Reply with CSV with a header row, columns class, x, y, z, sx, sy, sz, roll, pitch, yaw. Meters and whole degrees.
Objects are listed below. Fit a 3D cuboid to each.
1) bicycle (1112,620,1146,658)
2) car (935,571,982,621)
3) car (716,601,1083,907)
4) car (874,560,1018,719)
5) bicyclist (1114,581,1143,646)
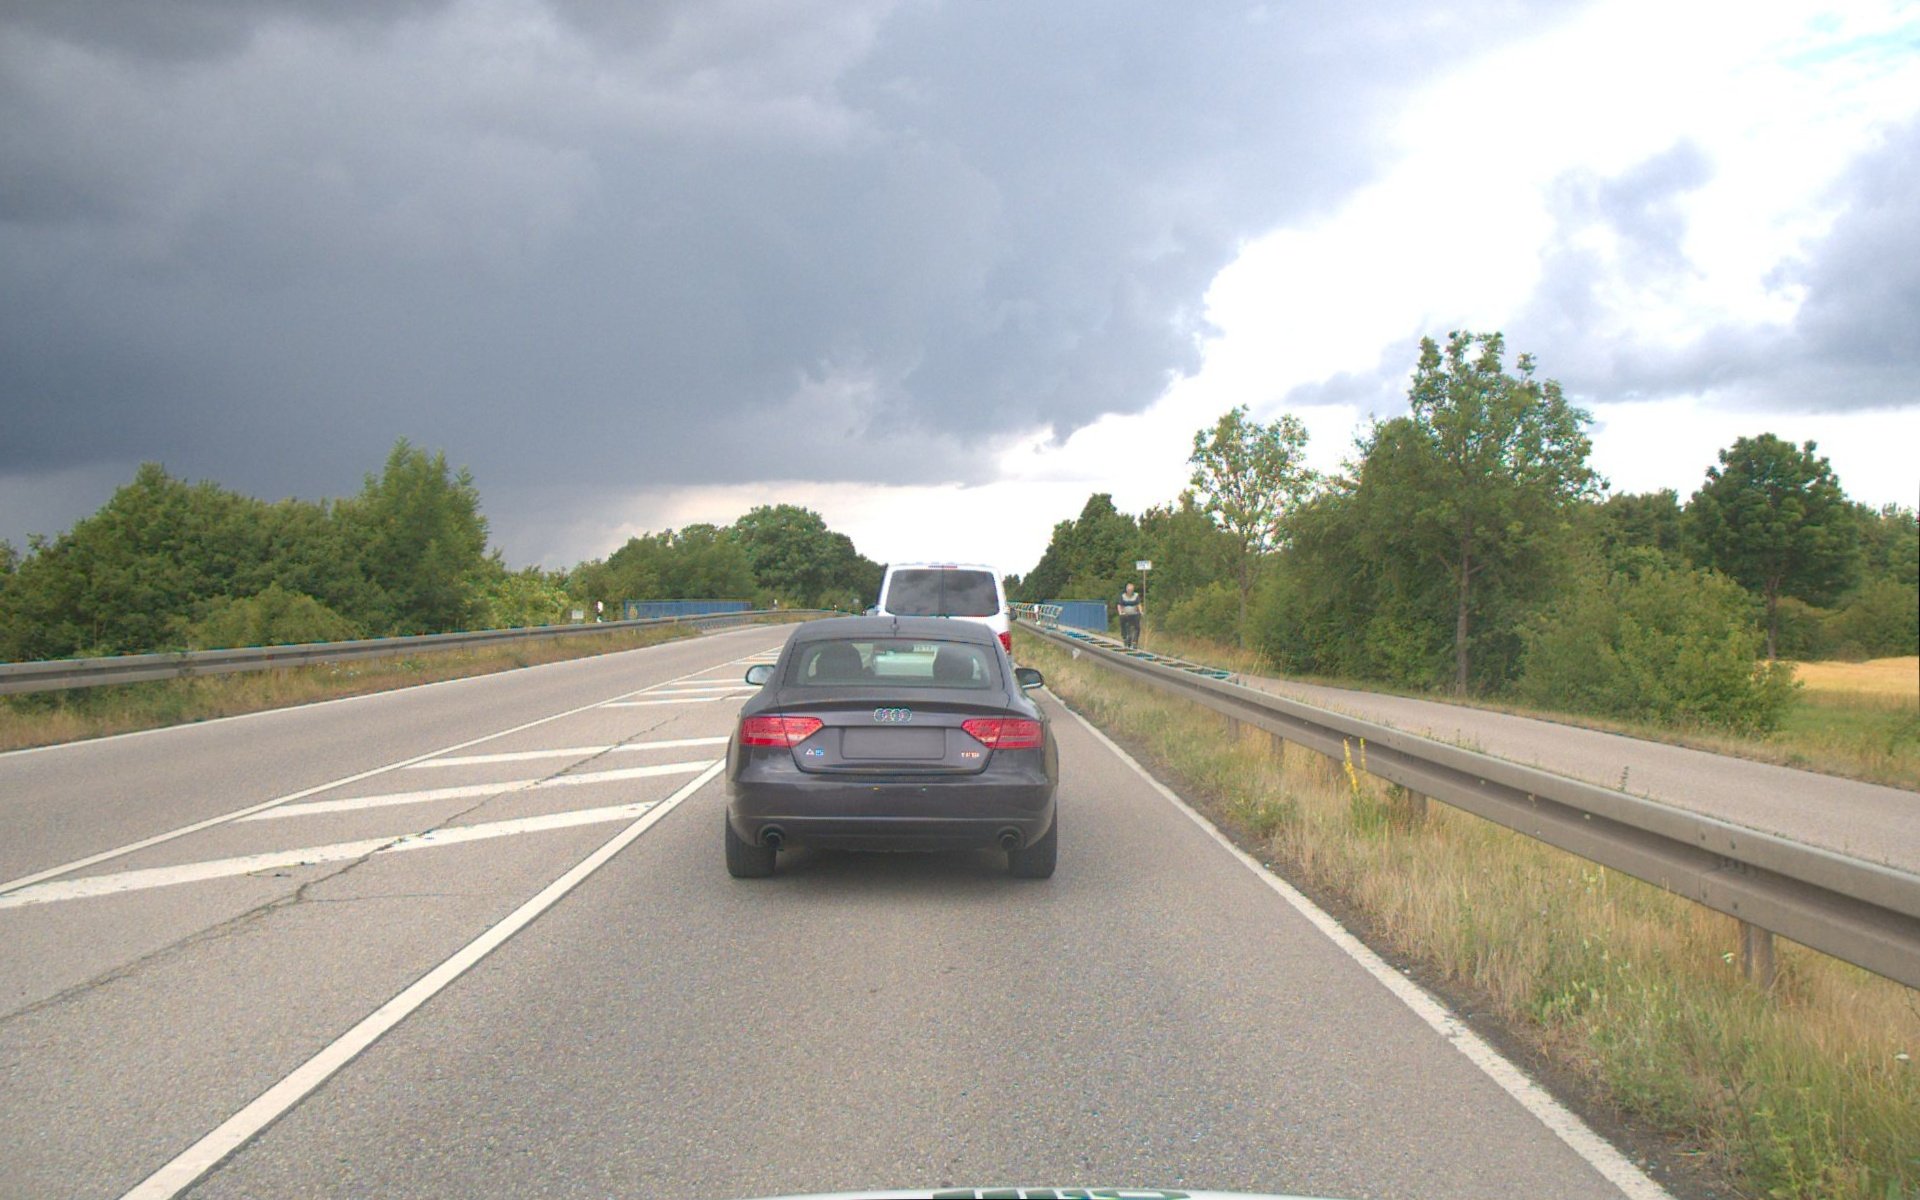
class,x,y,z,sx,sy,sz,roll,pitch,yaw
bicycle,4.392,1.008,43.034,0.652,0.936,1.830,0,0,-1
car,-0.101,-0.204,88.335,2.397,2.548,5.041,1,0,0
car,-0.317,0.765,9.982,1.749,1.449,3.999,1,-1,-1
car,-0.196,0.506,22.357,1.749,1.923,3.999,1,-1,-1
bicyclist,4.390,0.360,43.089,0.634,1.674,0.866,0,-1,-1
